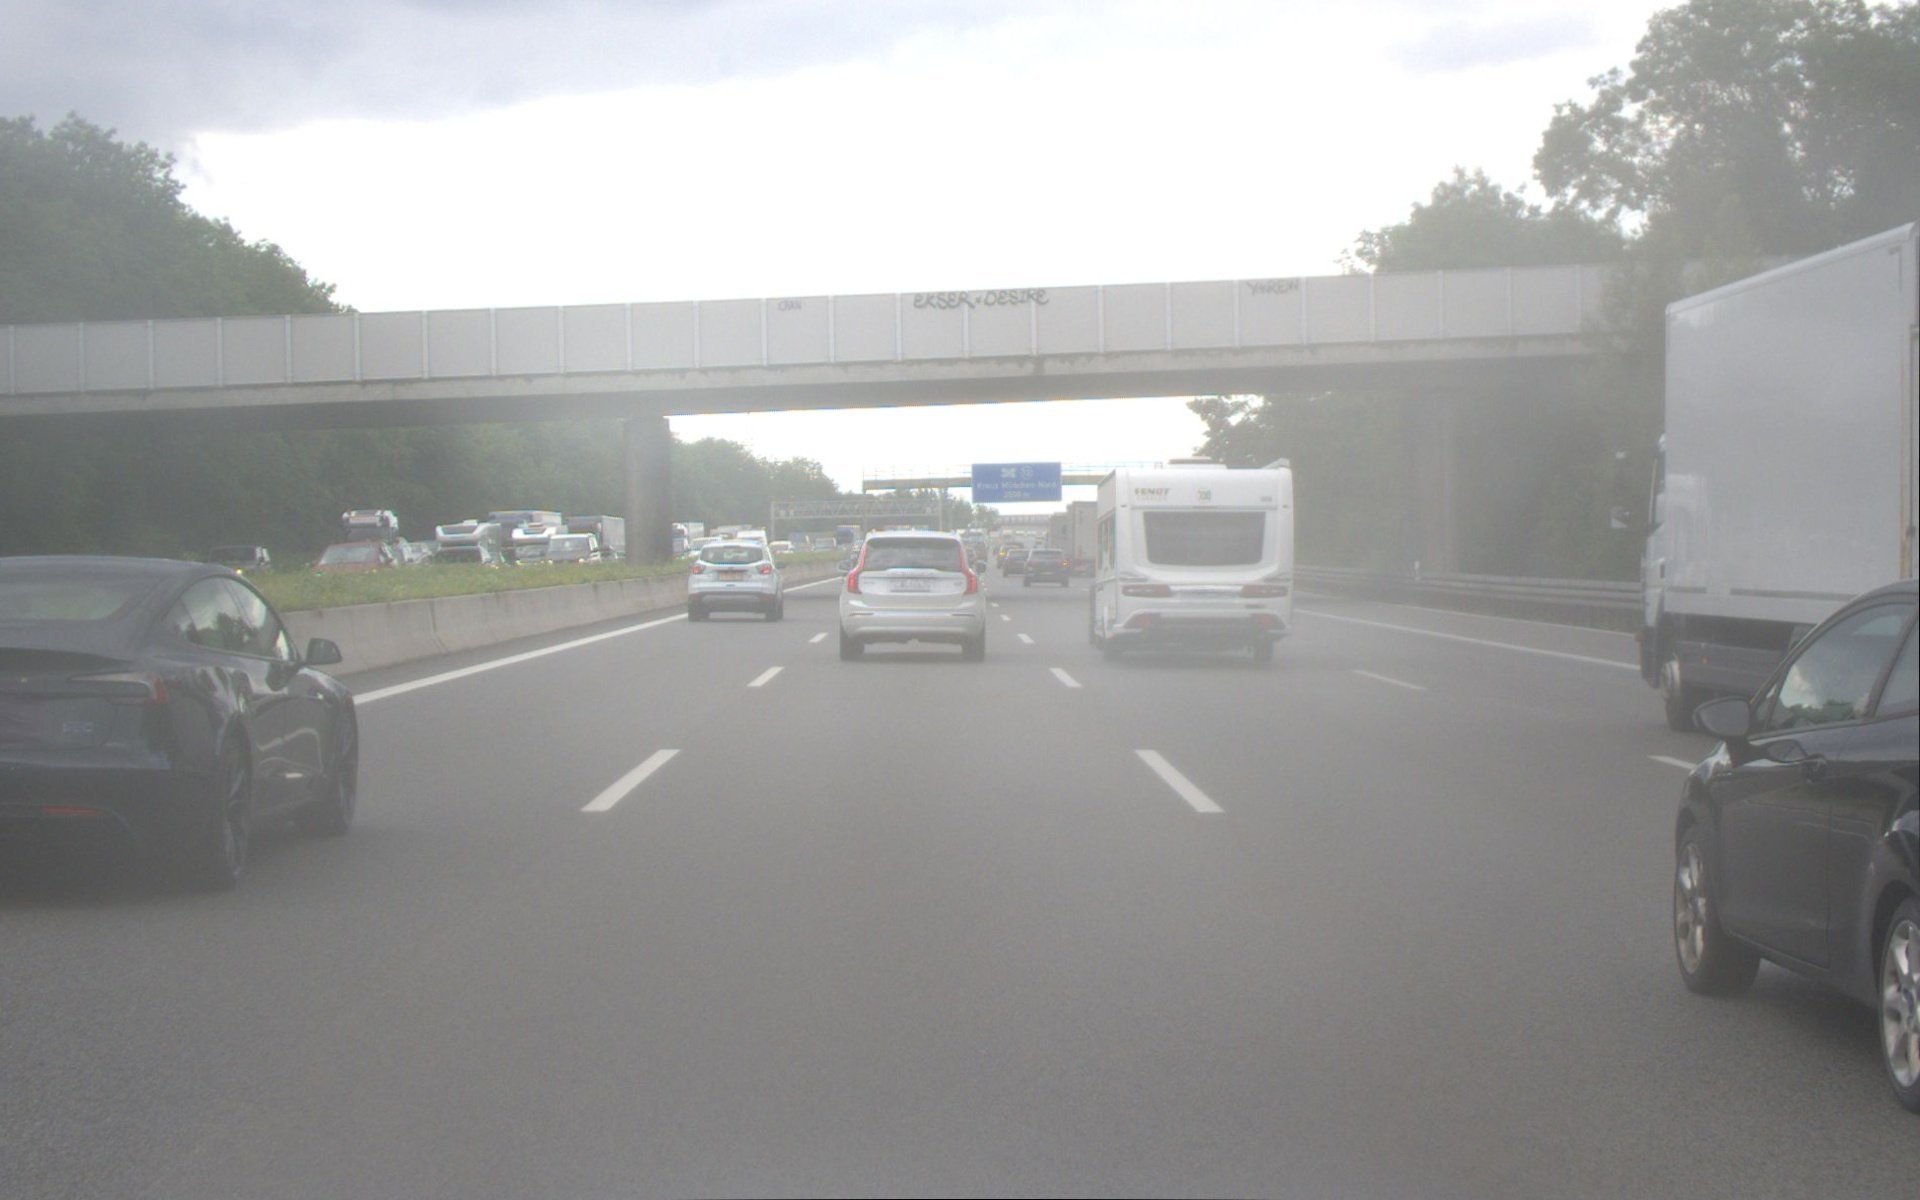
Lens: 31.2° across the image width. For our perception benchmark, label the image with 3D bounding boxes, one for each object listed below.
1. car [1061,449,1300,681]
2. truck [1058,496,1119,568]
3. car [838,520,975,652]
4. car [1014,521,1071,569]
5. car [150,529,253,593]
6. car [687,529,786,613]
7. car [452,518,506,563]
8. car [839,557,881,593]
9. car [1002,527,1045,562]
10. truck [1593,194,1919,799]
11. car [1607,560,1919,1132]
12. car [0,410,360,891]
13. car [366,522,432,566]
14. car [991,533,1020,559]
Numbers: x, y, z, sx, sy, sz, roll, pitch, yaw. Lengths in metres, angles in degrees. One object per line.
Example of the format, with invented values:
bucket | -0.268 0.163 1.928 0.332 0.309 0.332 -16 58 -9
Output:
car | 2.859 -0.513 46.632 2.567 2.885 7.534 0 1 -1
truck | 6.869 -3.652 184.336 2.906 3.797 7.274 0 1 -1
car | -0.708 -0.224 47.030 1.781 1.710 4.353 0 1 0
car | 3.221 -2.153 134.565 2.043 1.817 4.904 0 1 -1
car | -23.899 -1.256 108.467 2.220 1.945 4.829 0 1 -1
car | -4.661 -0.640 72.192 1.815 1.684 4.852 0 1 -1
car | -21.565 -2.683 154.353 1.993 2.007 4.001 0 1 -2
car | -4.261 -1.079 147.071 1.781 1.476 4.353 0 1 -1
car | 3.278 -2.879 177.624 2.043 1.817 4.904 0 1 -1
truck | 7.275 -0.720 25.917 3.133 3.697 9.848 0 1 0
car | 3.337 0.604 10.436 1.885 1.402 4.283 0 1 -1
car | -4.109 0.136 15.534 1.993 1.814 5.163 0 1 -1
car | -25.453 -2.539 156.129 2.220 1.945 4.829 0 1 -1
car | 3.204 -3.827 242.475 2.043 1.817 4.904 0 1 0
